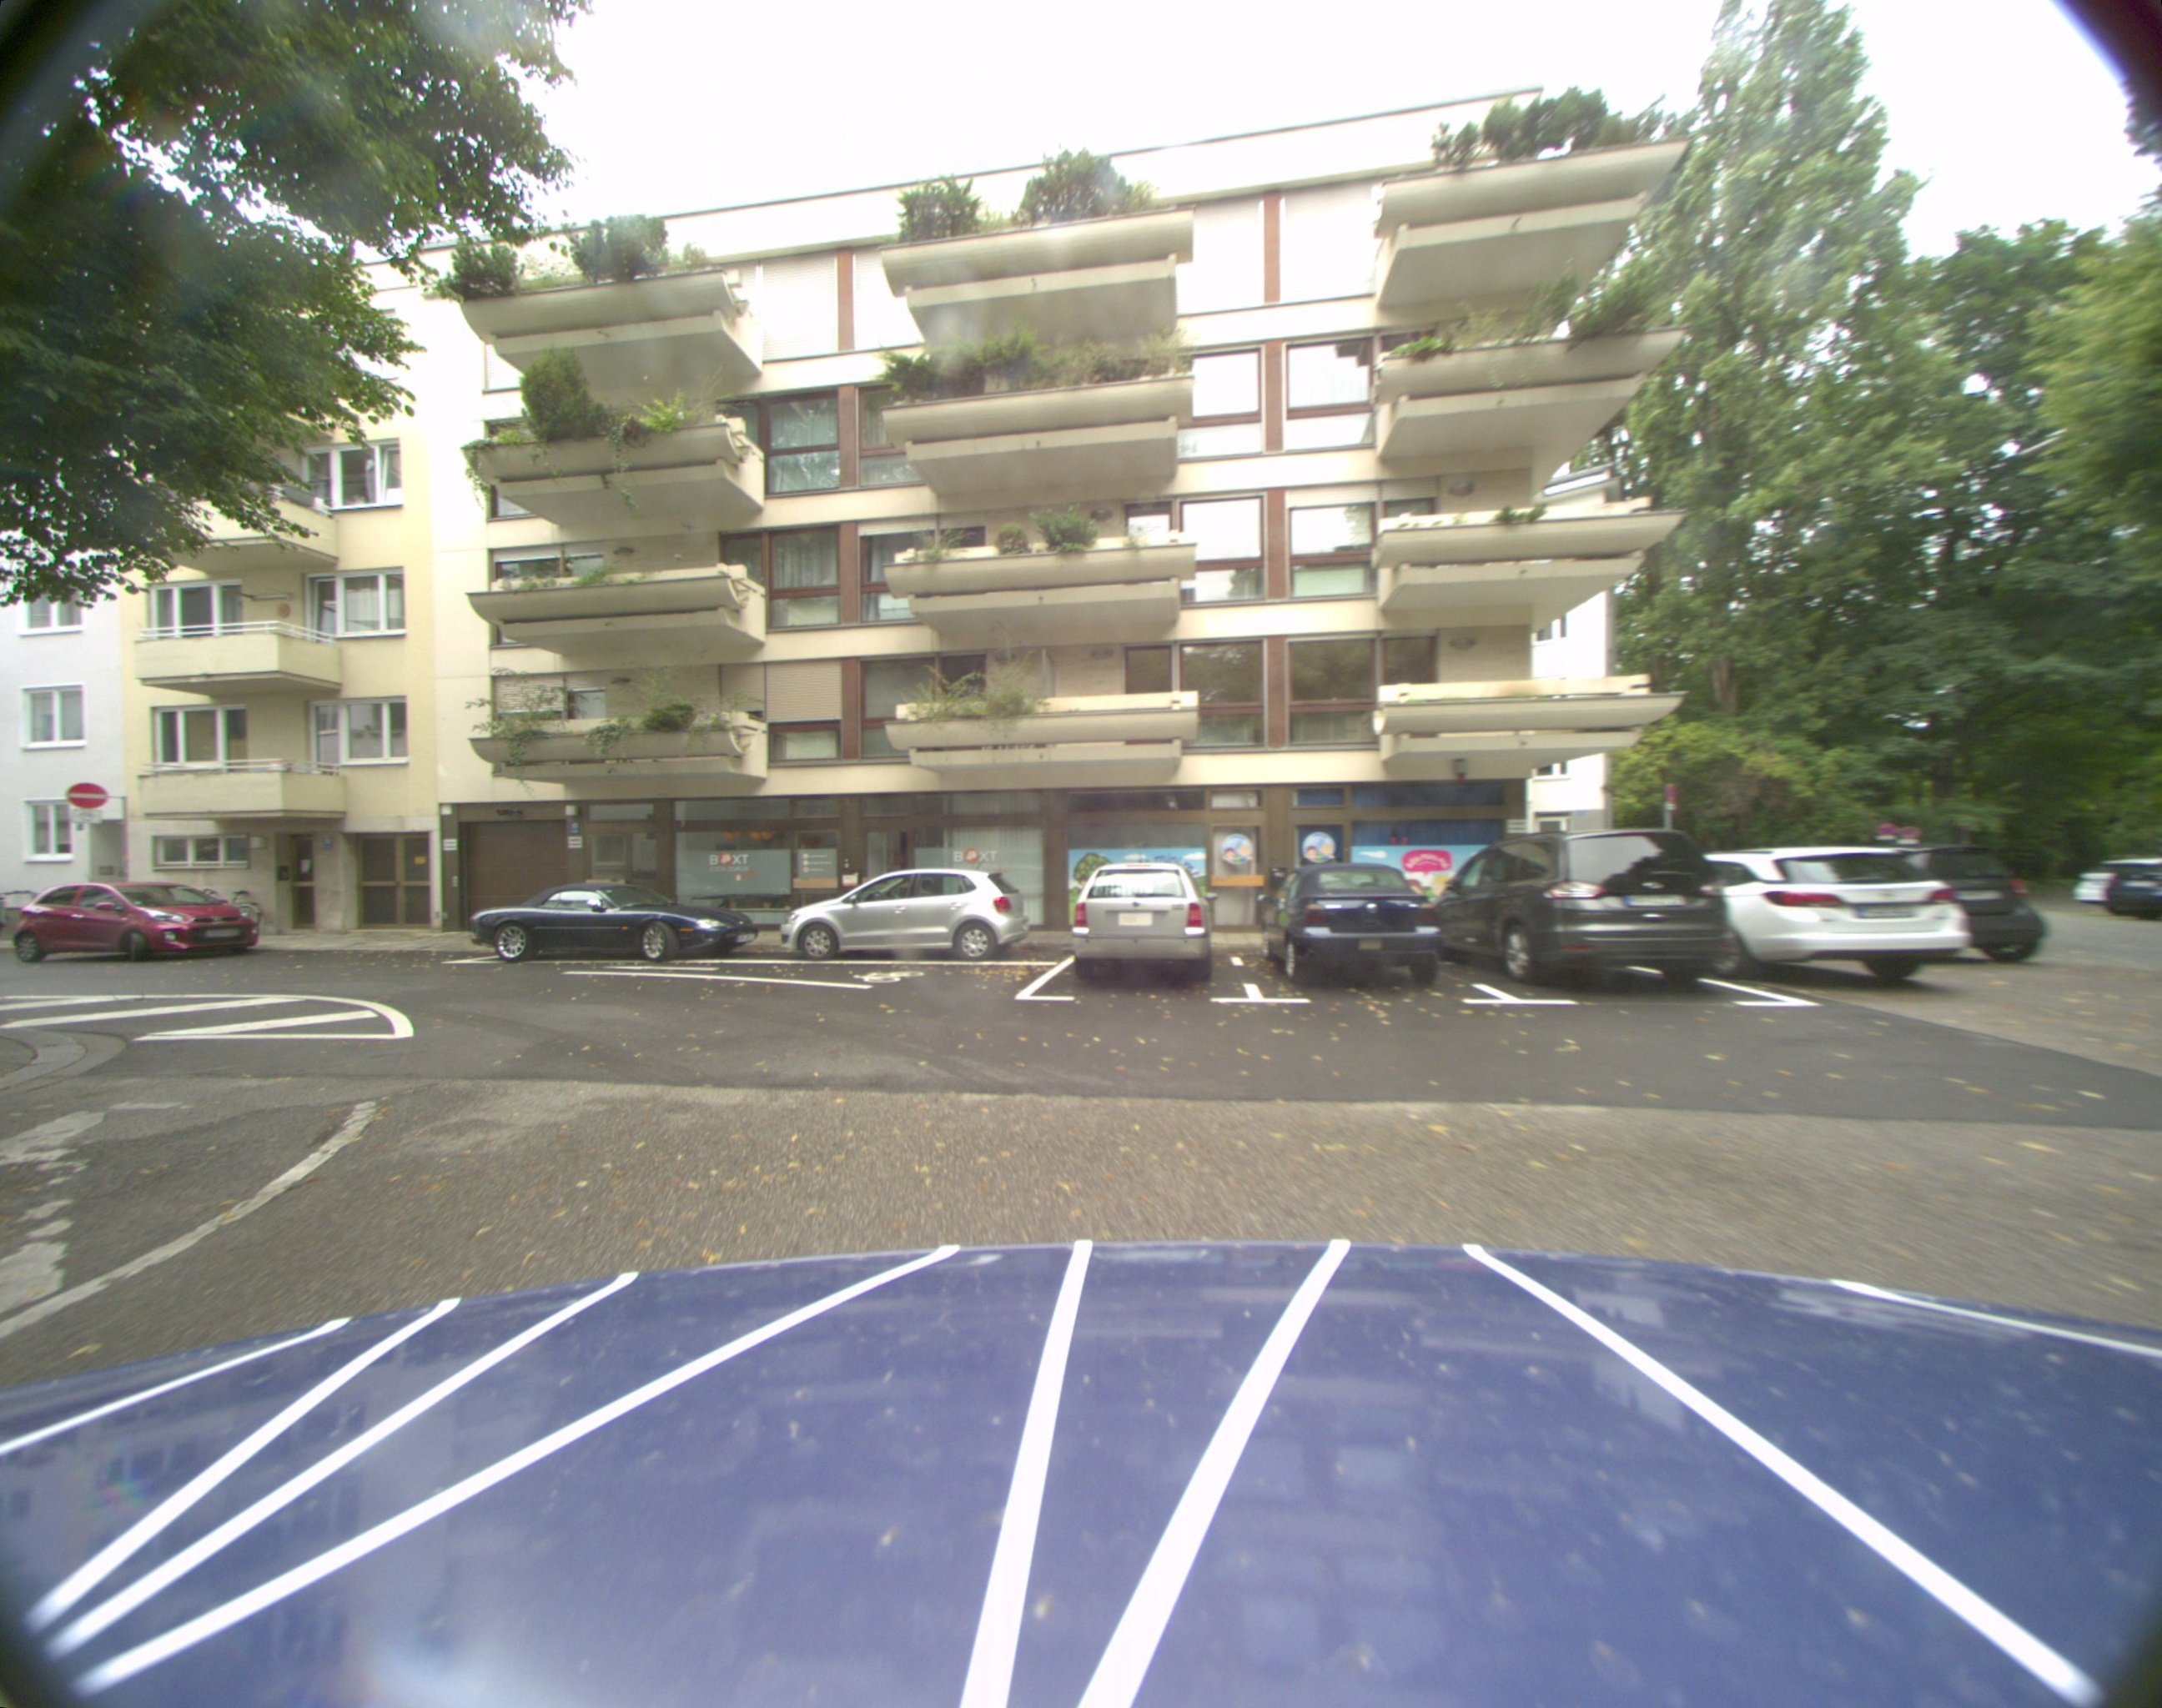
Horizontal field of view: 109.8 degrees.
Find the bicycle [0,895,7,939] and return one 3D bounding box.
[{"bbox_3d":[-27.564,1.570,18.706,1.867,1.091,0.465,-1,1,9],"label":"bicycle"}]

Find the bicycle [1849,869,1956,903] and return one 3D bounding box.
[{"bbox_3d":[29.169,1.126,27.050,2.463,1.112,0.827,0,2,39],"label":"bicycle"}]

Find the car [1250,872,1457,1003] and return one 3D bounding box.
[{"bbox_3d":[3.316,0.941,10.049,1.715,1.359,4.075,-1,-2,7],"label":"car"}]

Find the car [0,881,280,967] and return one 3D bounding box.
[{"bbox_3d":[-17.999,1.304,14.629,3.704,1.487,1.625,-1,0,6],"label":"car"}]

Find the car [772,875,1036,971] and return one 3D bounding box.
[{"bbox_3d":[-2.754,1.067,12.235,3.828,1.413,1.567,-1,-1,6],"label":"car"}]

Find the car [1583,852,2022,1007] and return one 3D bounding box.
[{"bbox_3d":[8.244,0.799,9.324,1.833,1.470,4.003,0,-2,6],"label":"car"}]

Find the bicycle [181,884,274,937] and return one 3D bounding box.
[{"bbox_3d":[-19.265,1.274,17.151,1.757,1.142,0.469,-1,1,8],"label":"bicycle"}]

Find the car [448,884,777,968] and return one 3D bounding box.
[{"bbox_3d":[-7.776,1.178,12.828,4.610,1.270,1.804,-1,-1,7],"label":"car"}]

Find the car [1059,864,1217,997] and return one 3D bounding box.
[{"bbox_3d":[0.883,0.928,10.486,1.719,1.446,4.245,-1,-2,7],"label":"car"}]

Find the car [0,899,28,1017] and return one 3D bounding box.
[{"bbox_3d":[-15.295,1.306,8.930,3.994,1.432,1.750,-1,0,8],"label":"car"}]

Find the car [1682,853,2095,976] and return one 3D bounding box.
[{"bbox_3d":[11.294,0.800,11.149,1.834,1.470,4.002,0,-2,1],"label":"car"}]

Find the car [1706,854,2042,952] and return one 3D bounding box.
[{"bbox_3d":[13.673,0.748,13.518,1.755,1.391,3.999,-1,1,-1],"label":"car"}]

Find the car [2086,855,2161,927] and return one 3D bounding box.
[{"bbox_3d":[24.829,0.756,16.434,3.997,1.469,1.723,-1,1,-2],"label":"car"}]

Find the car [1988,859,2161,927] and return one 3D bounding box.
[{"bbox_3d":[25.350,0.918,18.737,3.997,1.469,1.723,-1,1,-2],"label":"car"}]

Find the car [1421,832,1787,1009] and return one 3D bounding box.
[{"bbox_3d":[5.930,0.702,9.386,1.900,1.673,4.237,-1,-2,6],"label":"car"}]
